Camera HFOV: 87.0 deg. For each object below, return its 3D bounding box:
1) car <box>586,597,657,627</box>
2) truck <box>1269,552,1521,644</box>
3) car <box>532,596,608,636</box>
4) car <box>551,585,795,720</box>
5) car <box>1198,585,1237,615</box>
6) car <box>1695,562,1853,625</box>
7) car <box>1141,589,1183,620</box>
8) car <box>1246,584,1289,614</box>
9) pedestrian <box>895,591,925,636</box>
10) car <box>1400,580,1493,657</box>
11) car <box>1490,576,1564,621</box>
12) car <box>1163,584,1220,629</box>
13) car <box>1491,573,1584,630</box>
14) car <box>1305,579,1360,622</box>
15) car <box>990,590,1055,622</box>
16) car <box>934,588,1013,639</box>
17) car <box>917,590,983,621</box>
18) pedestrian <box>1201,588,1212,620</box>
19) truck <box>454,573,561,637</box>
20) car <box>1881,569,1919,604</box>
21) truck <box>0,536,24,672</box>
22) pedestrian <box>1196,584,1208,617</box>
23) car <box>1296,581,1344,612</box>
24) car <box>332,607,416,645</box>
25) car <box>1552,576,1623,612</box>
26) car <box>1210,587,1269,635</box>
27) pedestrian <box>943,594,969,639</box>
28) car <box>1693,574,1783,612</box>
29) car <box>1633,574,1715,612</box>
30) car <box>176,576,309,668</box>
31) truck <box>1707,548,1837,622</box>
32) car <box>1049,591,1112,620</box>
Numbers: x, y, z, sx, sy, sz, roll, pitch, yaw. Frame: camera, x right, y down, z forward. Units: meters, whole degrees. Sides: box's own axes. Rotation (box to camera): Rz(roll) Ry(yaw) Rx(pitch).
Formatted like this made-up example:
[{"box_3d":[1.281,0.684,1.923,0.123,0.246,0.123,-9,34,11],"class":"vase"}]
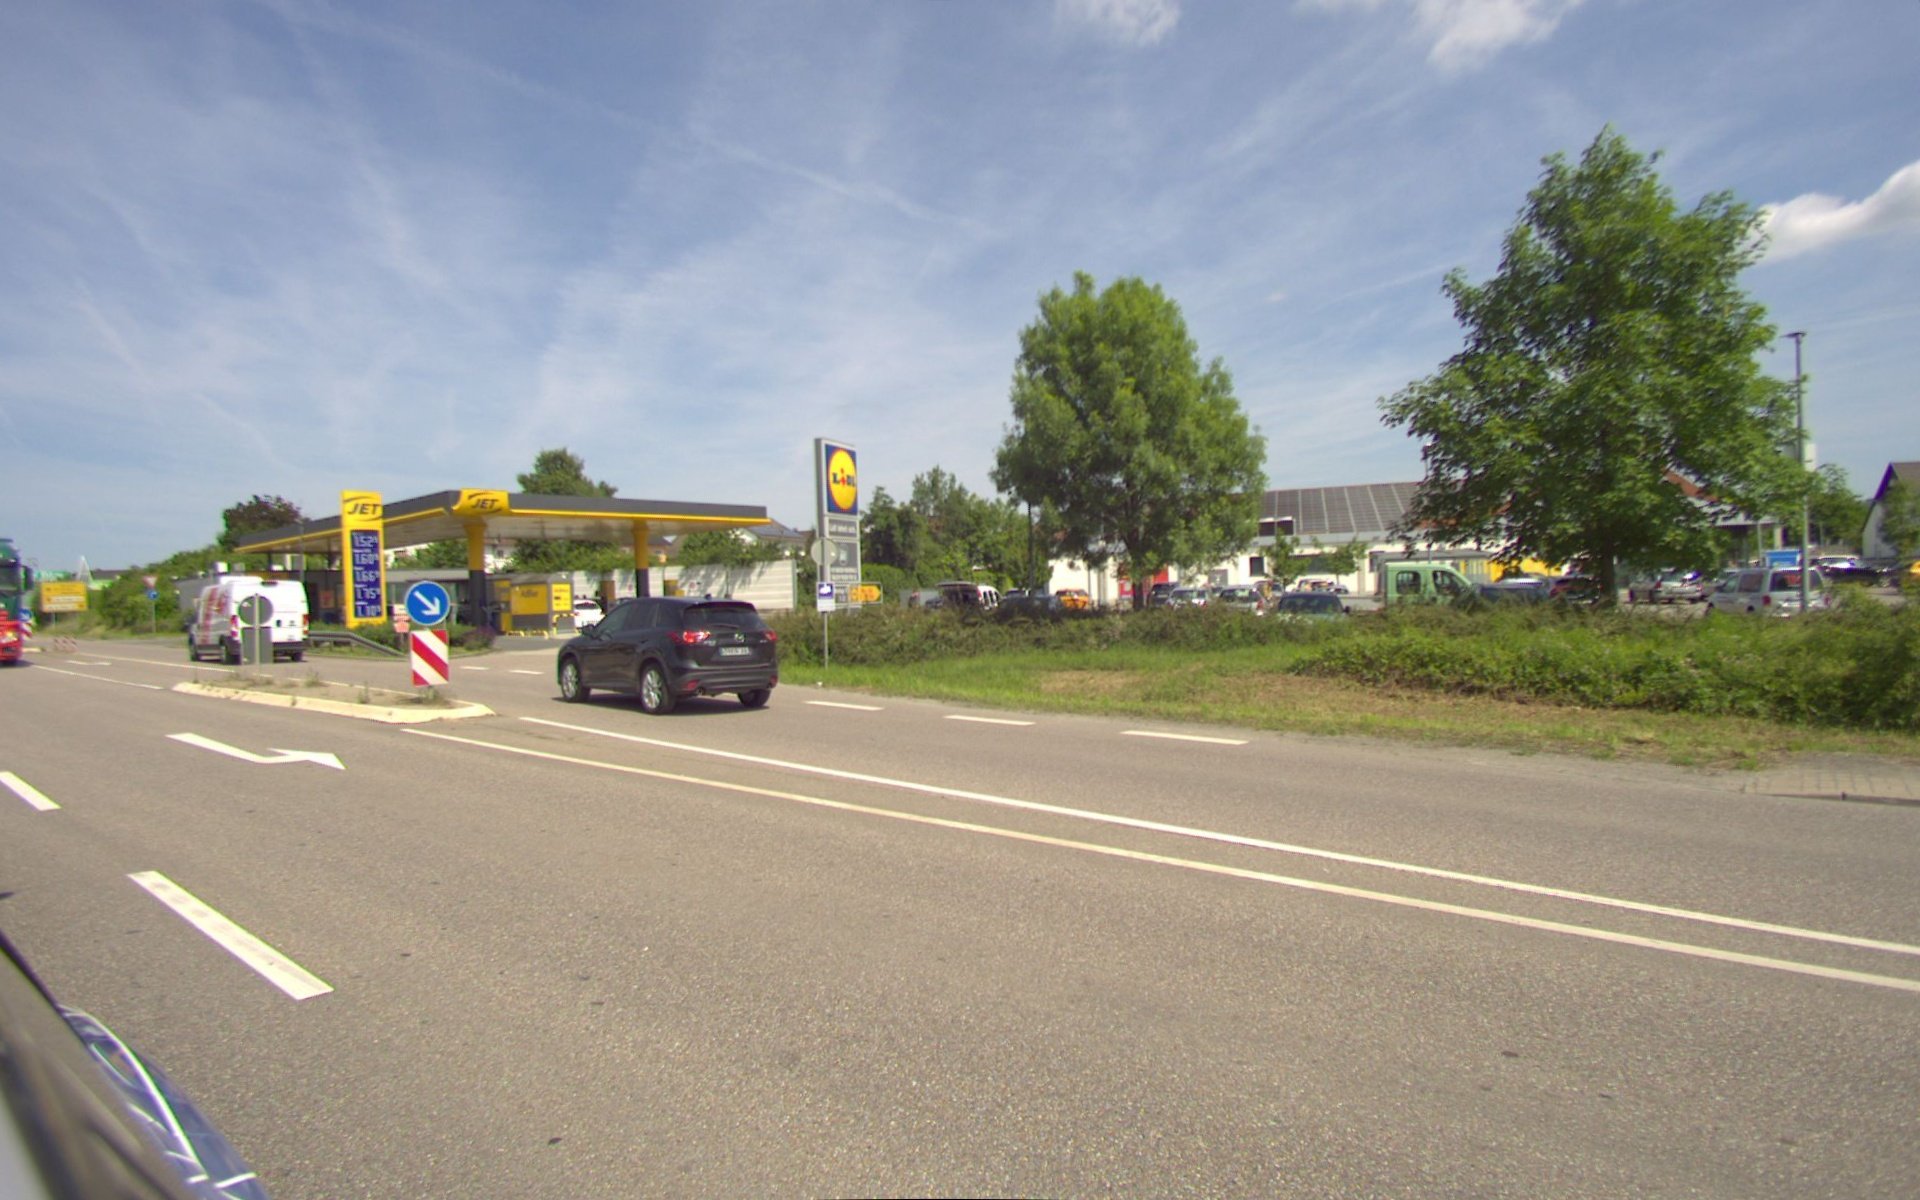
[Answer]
[{"box_3d":[-19.335,0.664,57.772,3.862,1.625,1.735,-1,-1,31],"class":"car"},{"box_3d":[12.153,0.003,28.828,6.299,2.393,2.235,-1,-1,19],"class":"truck"},{"box_3d":[-17.777,0.767,46.082,4.001,1.741,1.713,-2,-3,44],"class":"car"},{"box_3d":[-4.472,0.690,15.412,1.845,1.763,4.113,0,0,-44],"class":"car"},{"box_3d":[13.301,-0.046,52.237,1.868,1.453,3.981,-1,1,15],"class":"car"},{"box_3d":[24.207,-0.175,30.333,1.981,1.708,4.408,-1,0,14],"class":"car"},{"box_3d":[10.456,0.210,52.295,1.868,1.453,3.981,-1,1,15],"class":"car"},{"box_3d":[15.538,-0.073,51.268,1.868,1.453,3.981,-1,1,15],"class":"car"},{"box_3d":[-1.775,0.467,36.208,0.694,1.587,0.810,0,-1,-44],"class":"pedestrian"},{"box_3d":[11.410,0.390,23.950,1.683,1.670,3.971,0,0,22],"class":"car"},{"box_3d":[20.574,-0.044,36.863,1.767,1.540,3.972,0,0,21],"class":"car"},{"box_3d":[9.326,0.220,40.487,1.850,1.688,4.399,-1,0,17],"class":"car"},{"box_3d":[18.199,0.040,32.062,1.912,1.701,3.973,0,0,20],"class":"car"},{"box_3d":[14.261,0.008,38.942,1.764,1.540,3.977,0,0,17],"class":"car"},{"box_3d":[3.410,0.286,54.509,1.765,1.551,3.956,-2,0,33],"class":"car"},{"box_3d":[0.580,0.471,38.727,1.865,1.825,4.145,-1,0,17],"class":"car"},{"box_3d":[-0.535,0.297,56.352,1.765,1.551,3.956,-2,0,33],"class":"car"},{"box_3d":[11.915,0.190,48.892,0.502,1.564,0.514,-1,0,18],"class":"pedestrian"},{"box_3d":[-22.119,0.251,49.321,6.278,2.944,2.222,0,0,40],"class":"truck"},{"box_3d":[45.111,-0.622,46.095,4.223,1.553,1.869,0,0,18],"class":"car"},{"box_3d":[-32.238,0.190,31.998,10.041,3.950,2.641,-1,-1,40],"class":"truck"},{"box_3d":[11.579,0.022,48.381,0.502,1.564,0.514,-1,0,18],"class":"pedestrian"},{"box_3d":[17.944,-0.188,50.573,1.868,1.453,3.981,-1,1,15],"class":"car"},{"box_3d":[-27.736,1.242,47.834,4.258,1.719,1.975,-2,-1,38],"class":"car"},{"box_3d":[28.455,-0.257,45.999,1.865,1.553,4.231,0,0,20],"class":"car"},{"box_3d":[9.871,0.350,35.604,1.769,1.513,4.122,-1,1,18],"class":"car"},{"box_3d":[-0.146,0.592,36.198,0.801,1.587,0.701,-1,0,13],"class":"pedestrian"},{"box_3d":[33.904,-0.303,44.222,1.865,1.553,4.231,0,0,20],"class":"car"},{"box_3d":[31.488,-0.299,44.767,1.865,1.553,4.231,0,0,20],"class":"car"},{"box_3d":[-22.841,0.681,32.097,5.983,2.674,2.095,-2,0,41],"class":"car"},{"box_3d":[27.861,-0.478,34.894,1.981,2.383,3.982,-1,0,14],"class":"truck"},{"box_3d":[6.502,0.262,54.319,1.879,1.453,3.958,-1,1,31],"class":"car"}]
